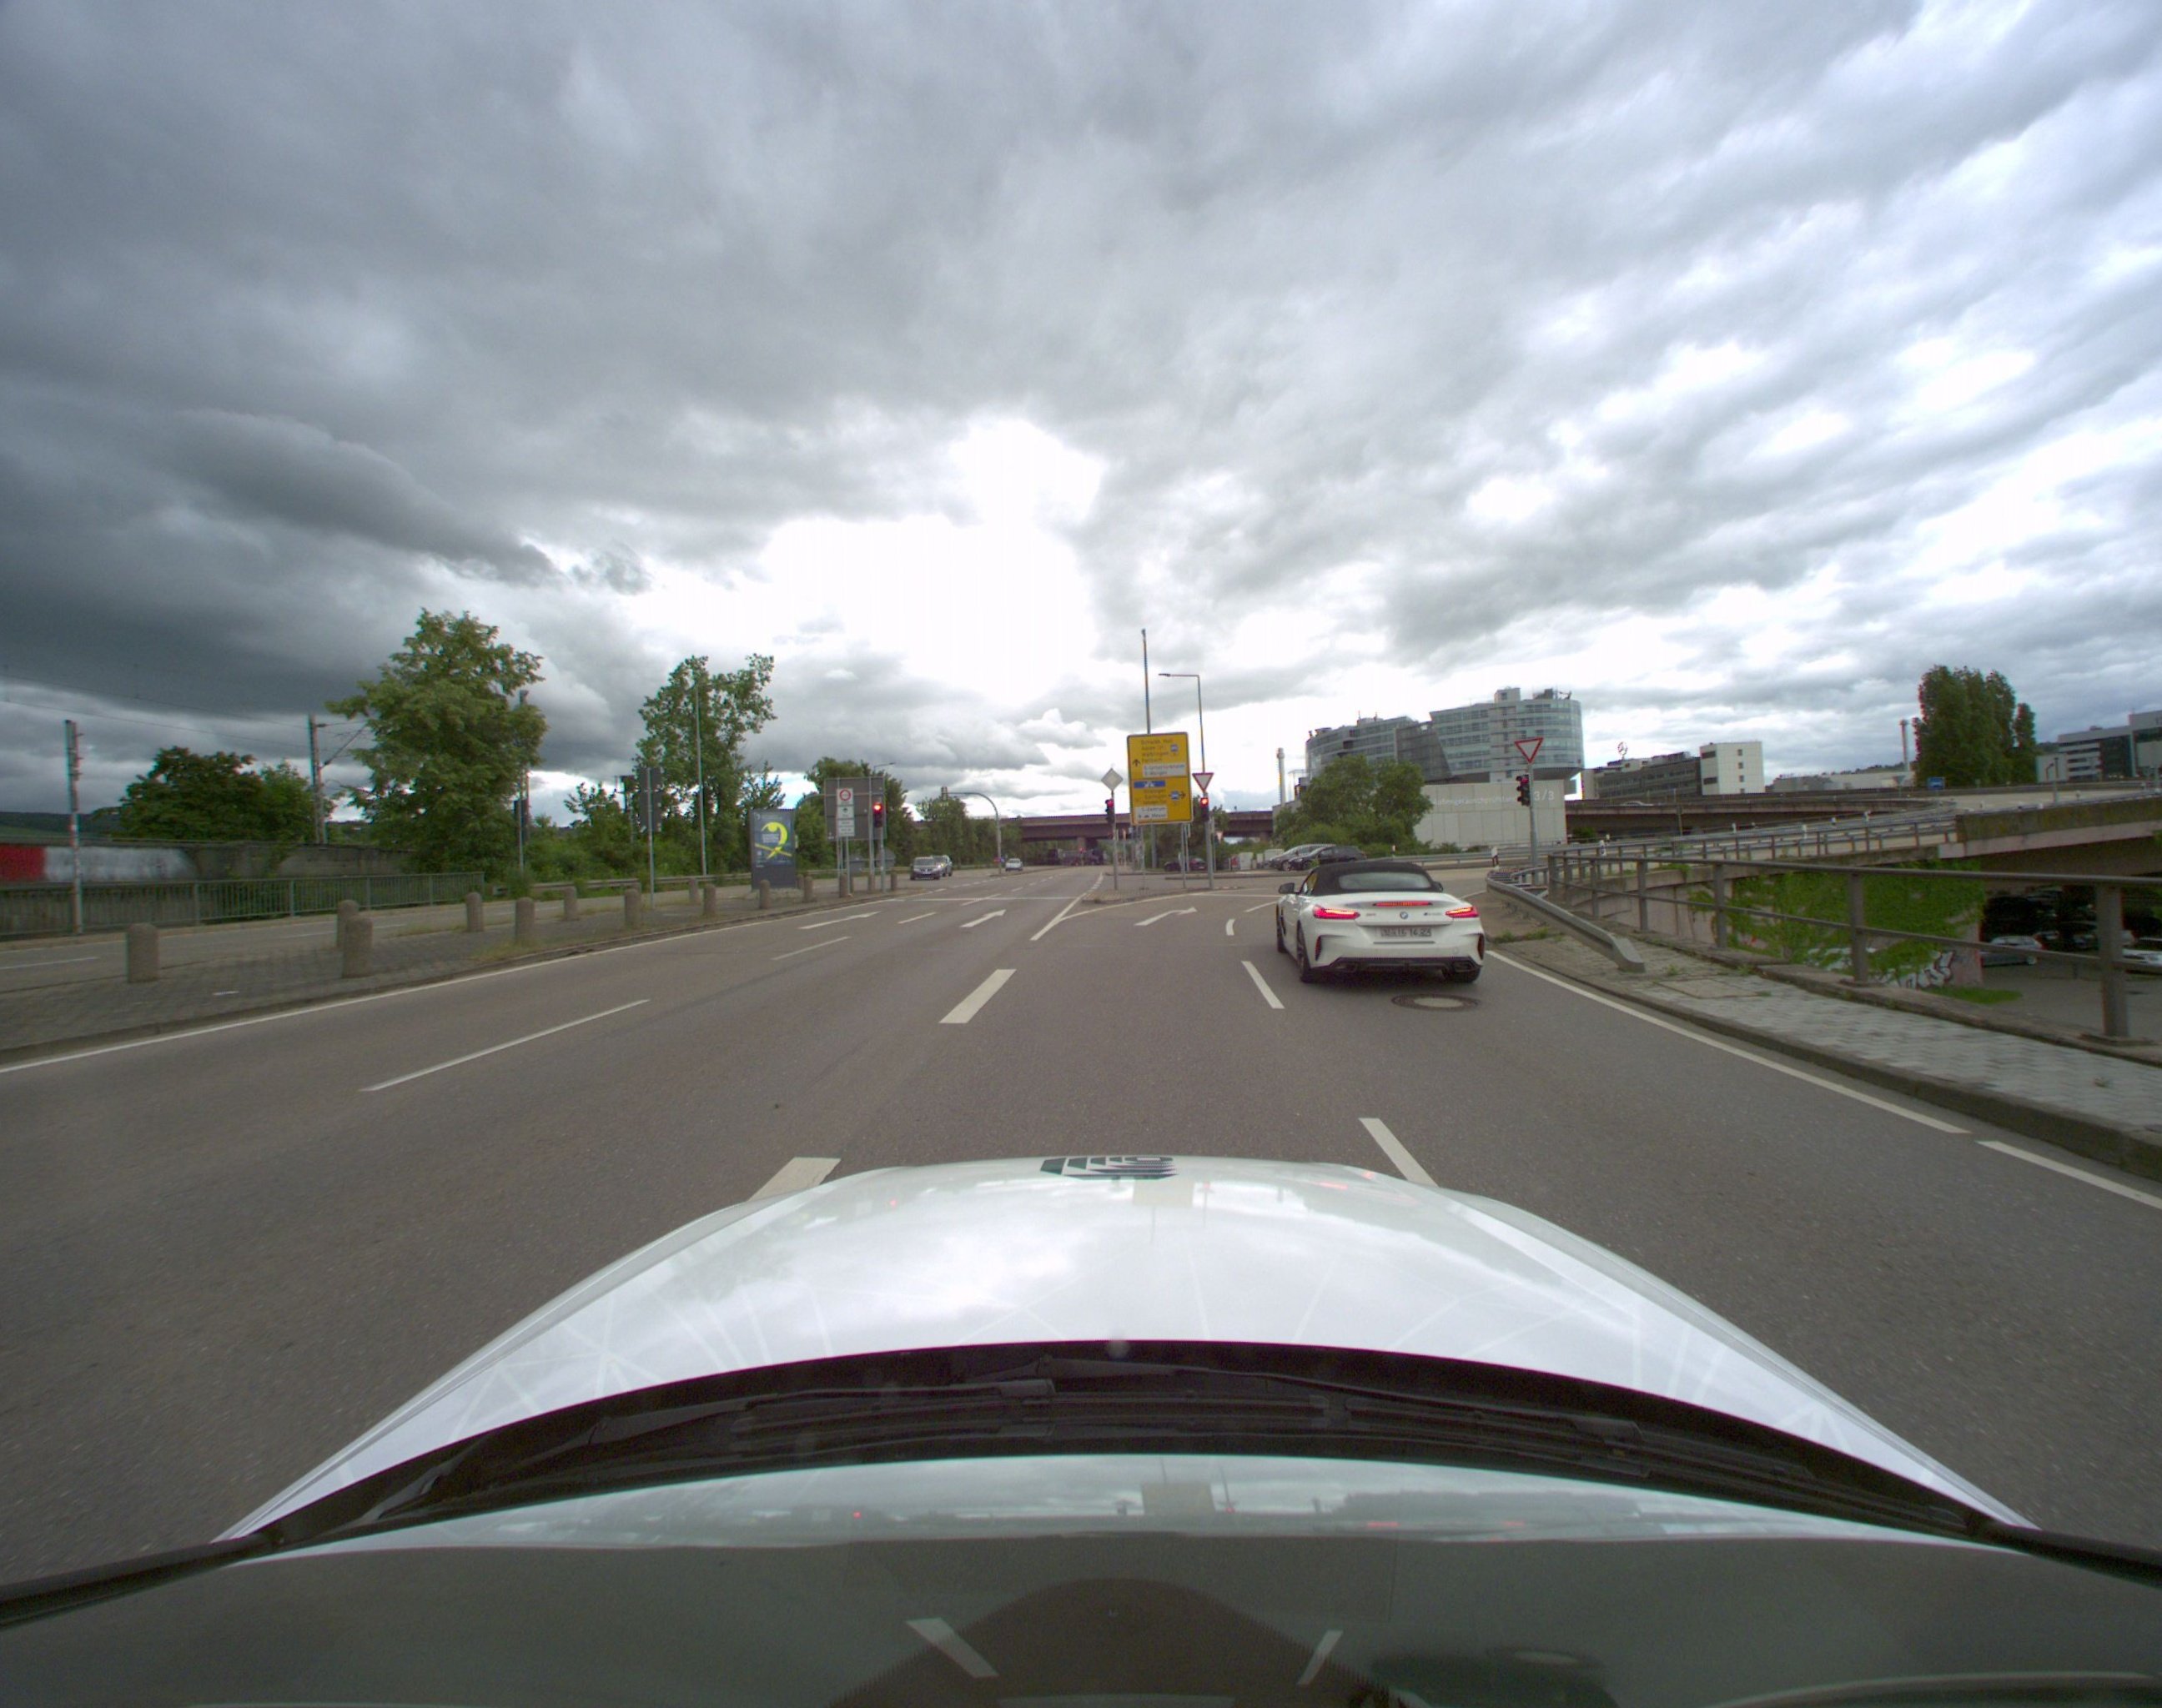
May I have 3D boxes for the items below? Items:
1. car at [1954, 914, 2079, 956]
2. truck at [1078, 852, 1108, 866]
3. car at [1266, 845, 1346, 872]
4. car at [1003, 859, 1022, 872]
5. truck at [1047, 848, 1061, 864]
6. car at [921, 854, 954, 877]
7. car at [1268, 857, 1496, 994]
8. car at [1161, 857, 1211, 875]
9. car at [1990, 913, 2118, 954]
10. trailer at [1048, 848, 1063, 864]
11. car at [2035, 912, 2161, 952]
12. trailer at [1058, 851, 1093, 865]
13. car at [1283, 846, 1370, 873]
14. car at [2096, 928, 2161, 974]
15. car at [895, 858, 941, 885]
[{"bbox_3d":[48.165,4.124,42.043,1.822,1.637,3.847,-3,0,-12],"label":"car"},{"bbox_3d":[2.510,0.975,168.074,5.706,2.624,2.637,2,0,39],"label":"truck"},{"bbox_3d":[14.558,0.282,52.892,4.663,1.571,1.956,-2,1,0],"label":"car"},{"bbox_3d":[-7.990,1.375,95.157,1.718,1.400,4.066,-2,0,0],"label":"car"},{"bbox_3d":[-6.990,0.561,208.944,2.859,4.084,6.494,0,0,4],"label":"truck"},{"bbox_3d":[-11.315,0.868,64.528,1.719,1.737,4.555,-2,0,0],"label":"car"},{"bbox_3d":[3.429,0.710,10.109,1.795,1.291,4.273,-1,0,8],"label":"car"},{"bbox_3d":[9.002,1.063,70.021,2.008,1.464,4.066,1,-3,-34],"label":"car"},{"bbox_3d":[50.373,4.091,42.285,1.822,1.637,3.847,-3,0,-12],"label":"car"},{"bbox_3d":[-6.635,0.558,214.040,2.859,4.084,11.439,0,0,4],"label":"trailer"},{"bbox_3d":[53.049,4.000,42.482,1.822,1.617,3.847,-3,0,-12],"label":"car"},{"bbox_3d":[-1.194,0.775,171.903,2.622,2.624,8.472,2,0,-39],"label":"trailer"},{"bbox_3d":[14.698,0.300,48.824,4.595,1.457,1.954,-2,1,-4],"label":"car"},{"bbox_3d":[46.789,4.147,35.212,3.985,1.534,1.822,-3,0,-8],"label":"car"},{"bbox_3d":[-10.610,1.195,52.943,1.734,1.462,4.203,2,-5,-29],"label":"car"}]
